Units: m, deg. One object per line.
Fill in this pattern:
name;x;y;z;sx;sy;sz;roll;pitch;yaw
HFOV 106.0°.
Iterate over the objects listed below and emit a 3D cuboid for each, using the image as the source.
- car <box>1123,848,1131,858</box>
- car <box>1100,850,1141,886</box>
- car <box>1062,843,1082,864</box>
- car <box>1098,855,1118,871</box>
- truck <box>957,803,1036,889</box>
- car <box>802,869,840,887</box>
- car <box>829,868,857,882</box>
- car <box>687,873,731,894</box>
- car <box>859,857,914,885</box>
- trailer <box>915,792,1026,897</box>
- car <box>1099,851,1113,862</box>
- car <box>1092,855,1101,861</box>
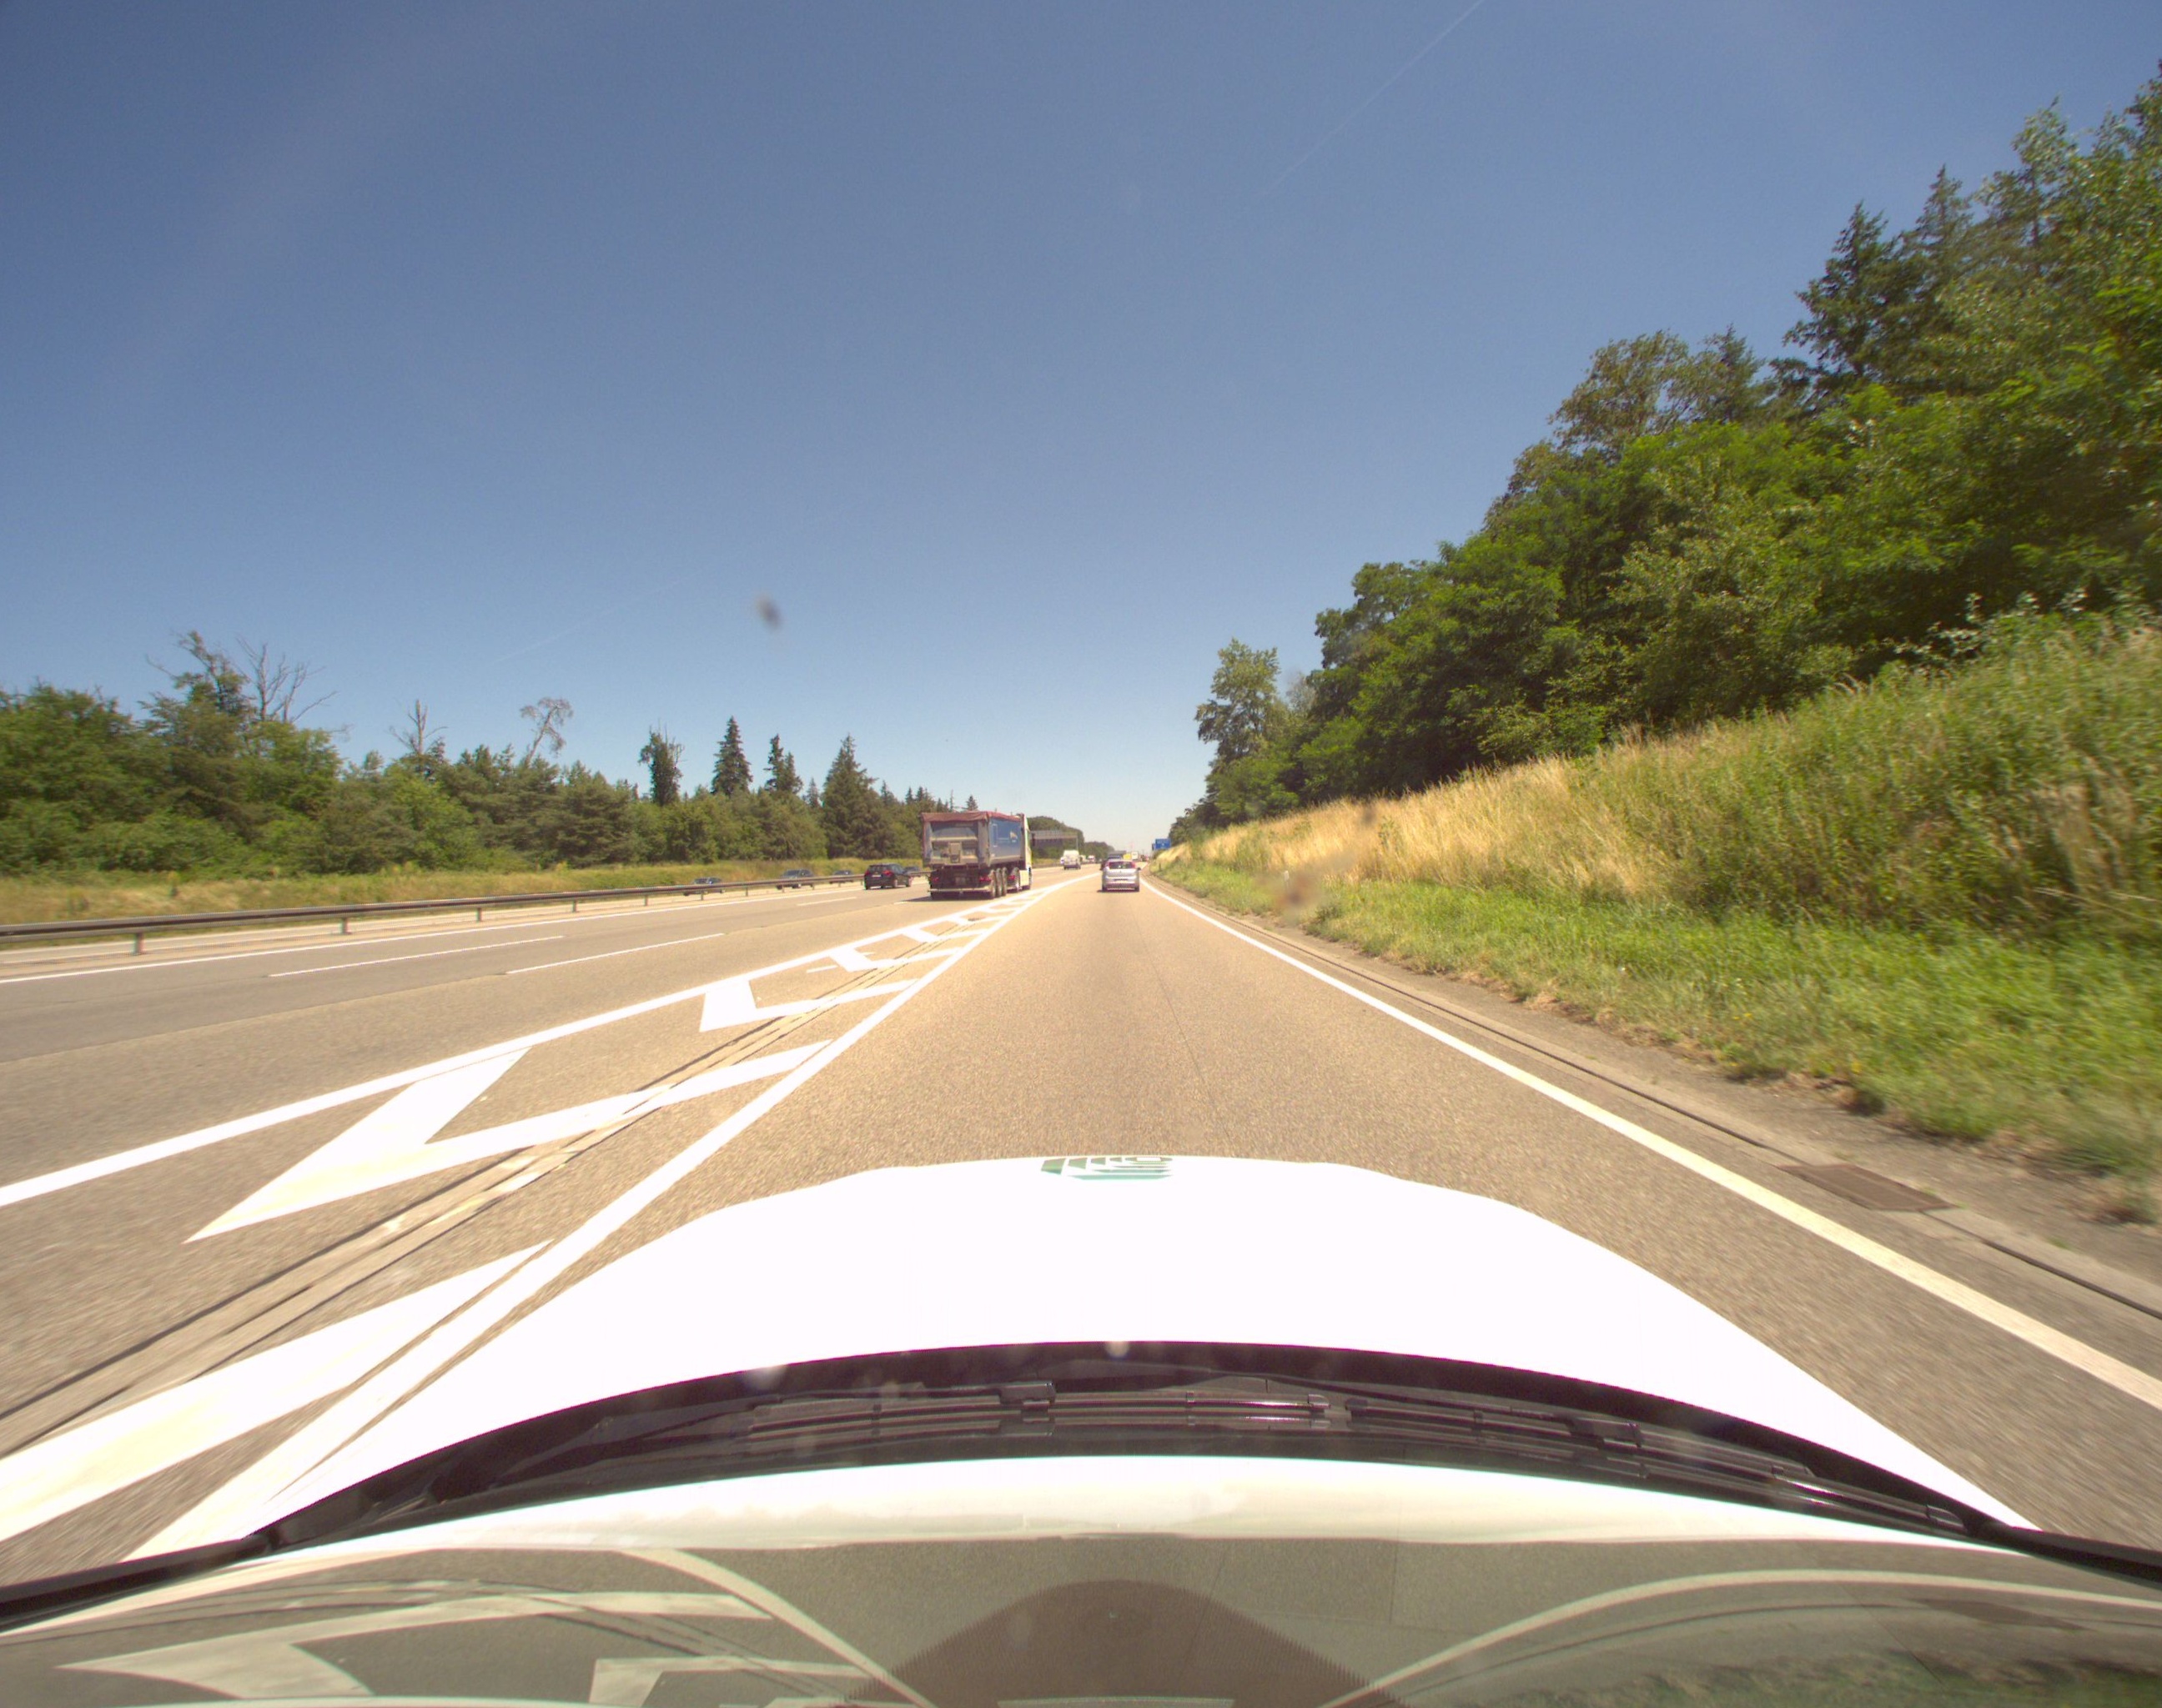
car;10.038;-0.235;178.807;1.604;2.014;4.004;-1;0;4
car;1.796;0.593;36.948;1.712;1.491;3.740;-1;0;3
car;-1.295;-0.094;117.804;2.250;2.951;6.120;-1;0;4
car;3.044;0.989;90.912;1.821;1.672;4.008;-1;-1;8
truck;-3.950;-0.361;39.487;2.672;3.758;5.950;-2;0;4
car;-21.049;1.925;65.959;1.613;1.260;3.572;-2;0;5
car;-27.370;2.379;93.766;1.550;1.527;4.008;-1;-1;7
car;-30.435;2.401;66.720;1.613;1.477;3.572;-2;0;5
car;-11.244;0.937;47.416;1.695;1.474;4.603;-2;0;5
trailer;-4.350;-0.346;34.337;2.725;3.758;9.119;-2;0;4
car;3.564;0.353;114.480;1.886;1.469;4.265;-1;0;3
car;4.400;1.137;232.232;2.148;1.814;4.864;-2;0;3
